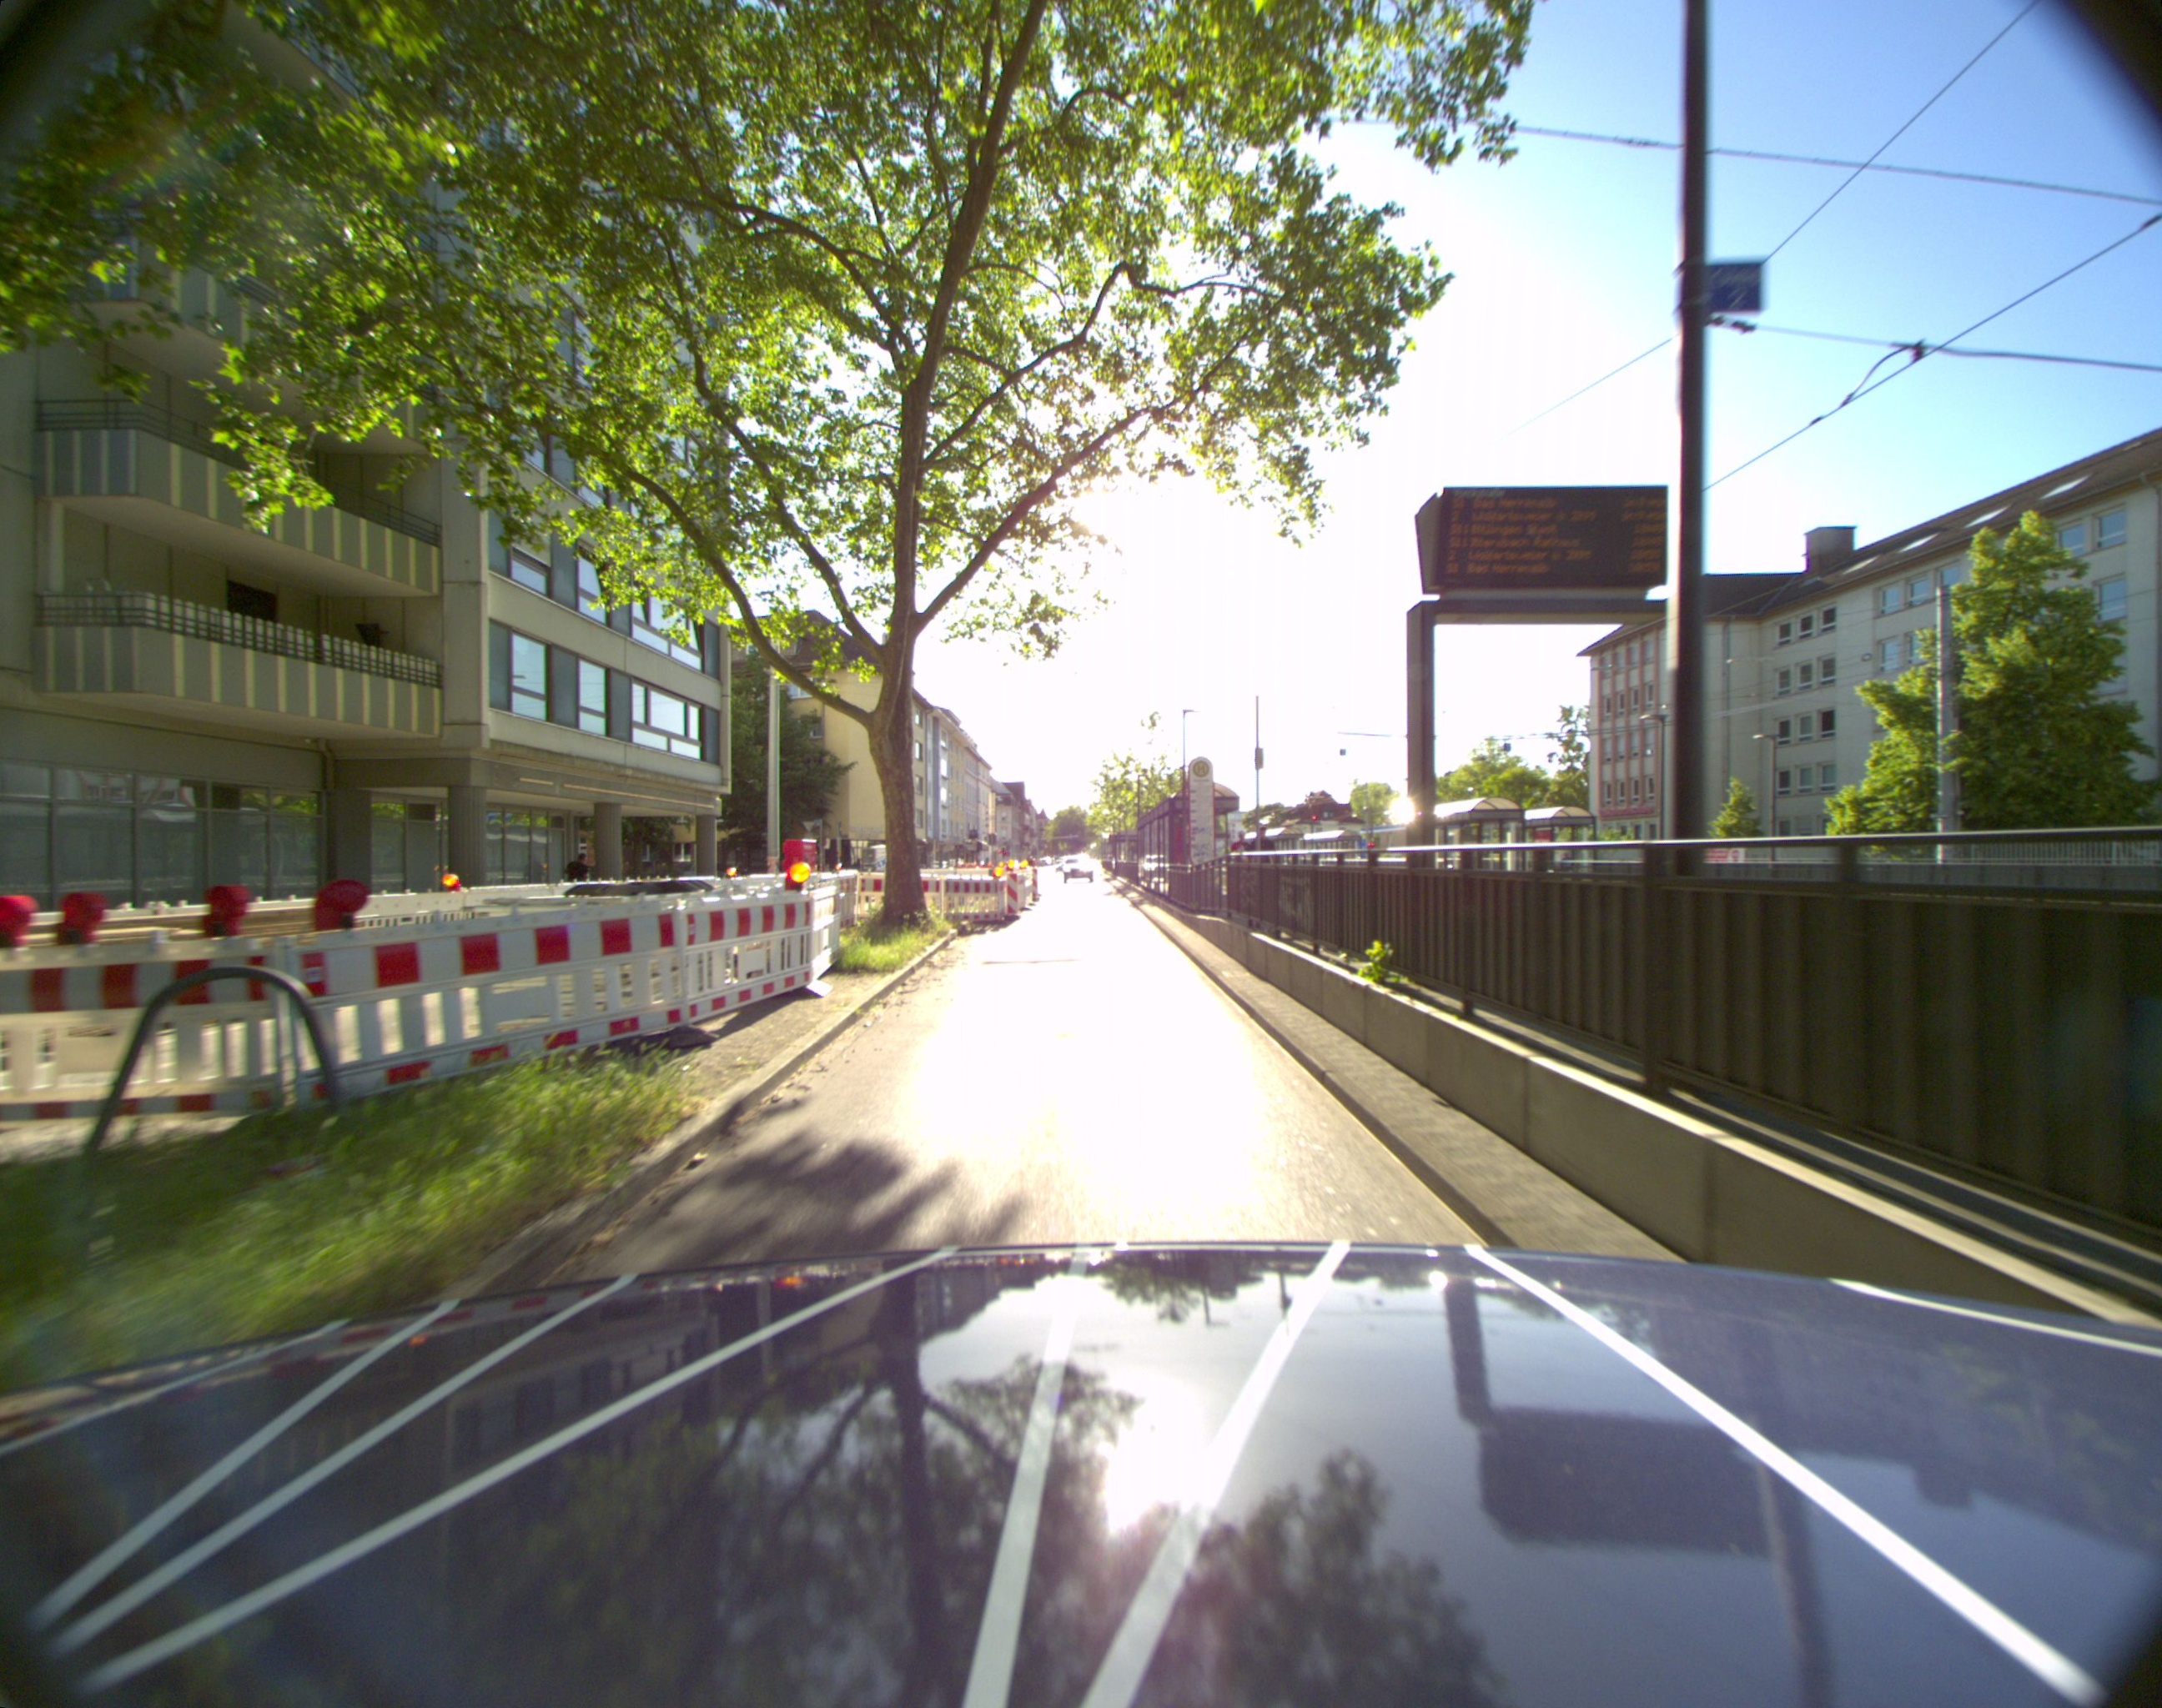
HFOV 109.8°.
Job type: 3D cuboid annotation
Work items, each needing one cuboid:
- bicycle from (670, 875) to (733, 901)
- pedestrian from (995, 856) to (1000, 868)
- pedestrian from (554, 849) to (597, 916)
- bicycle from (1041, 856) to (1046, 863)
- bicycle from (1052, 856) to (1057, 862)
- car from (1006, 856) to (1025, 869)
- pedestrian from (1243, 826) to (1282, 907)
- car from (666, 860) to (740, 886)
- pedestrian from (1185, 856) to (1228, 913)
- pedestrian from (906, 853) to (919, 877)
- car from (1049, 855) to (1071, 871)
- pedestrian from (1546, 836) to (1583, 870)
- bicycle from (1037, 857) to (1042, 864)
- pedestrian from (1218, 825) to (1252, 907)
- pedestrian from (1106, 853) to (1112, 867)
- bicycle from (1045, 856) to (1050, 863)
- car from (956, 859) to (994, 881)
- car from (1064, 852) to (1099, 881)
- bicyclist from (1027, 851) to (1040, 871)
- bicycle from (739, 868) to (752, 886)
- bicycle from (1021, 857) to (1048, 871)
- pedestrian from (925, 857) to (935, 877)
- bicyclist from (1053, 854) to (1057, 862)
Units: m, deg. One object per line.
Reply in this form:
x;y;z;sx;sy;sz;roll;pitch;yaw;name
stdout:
-14.714;1.319;29.459;2.030;0.937;1.019;-1;0;20;bicycle
-12.150;1.209;110.109;0.663;1.680;0.677;-1;1;0;pedestrian
-13.913;0.783;20.943;0.691;1.804;0.665;-1;1;0;pedestrian
-7.164;1.055;146.549;0.693;1.208;2.299;-1;0;5;bicycle
-5.077;0.994;146.239;0.693;1.208;2.299;-1;0;5;bicycle
-7.861;0.950;91.706;1.904;1.421;4.716;-3;0;-1;car
4.106;0.278;17.247;0.683;1.773;0.754;-1;1;1;pedestrian
-24.602;1.214;49.479;4.238;1.632;2.003;-1;-1;21;car
2.682;0.647;16.295;0.754;1.172;0.812;-1;0;-1;pedestrian
-12.978;0.855;58.644;0.730;1.844;0.901;-1;1;3;pedestrian
-2.255;0.964;82.611;1.998;1.594;4.273;-1;0;4;car
20.045;-0.035;31.504;0.977;1.368;0.879;-1;0;0;pedestrian
-8.020;1.251;146.708;0.693;1.208;2.299;-1;0;5;bicycle
3.846;0.301;18.999;0.669;2.002;0.716;-1;1;1;pedestrian
3.618;0.788;98.264;0.637;1.817;0.776;-1;1;3;pedestrian
-6.453;1.031;146.463;0.693;1.208;2.299;-1;0;5;bicycle
-7.483;1.083;53.979;1.876;1.434;5.159;-1;0;1;car
0.077;0.736;47.841;1.979;1.660;4.620;-2;0;2;car
-4.648;0.666;74.409;1.005;1.872;0.991;-1;1;-27;bicyclist
-21.269;1.435;48.193;0.369;1.076;1.824;-1;0;-13;bicycle
-4.571;0.954;74.485;2.382;1.349;1.020;-1;1;-26;bicycle
-11.773;1.005;59.279;0.672;1.498;0.652;-1;1;0;pedestrian
-5.029;0.756;146.947;0.696;1.596;0.745;-1;1;5;bicyclist
